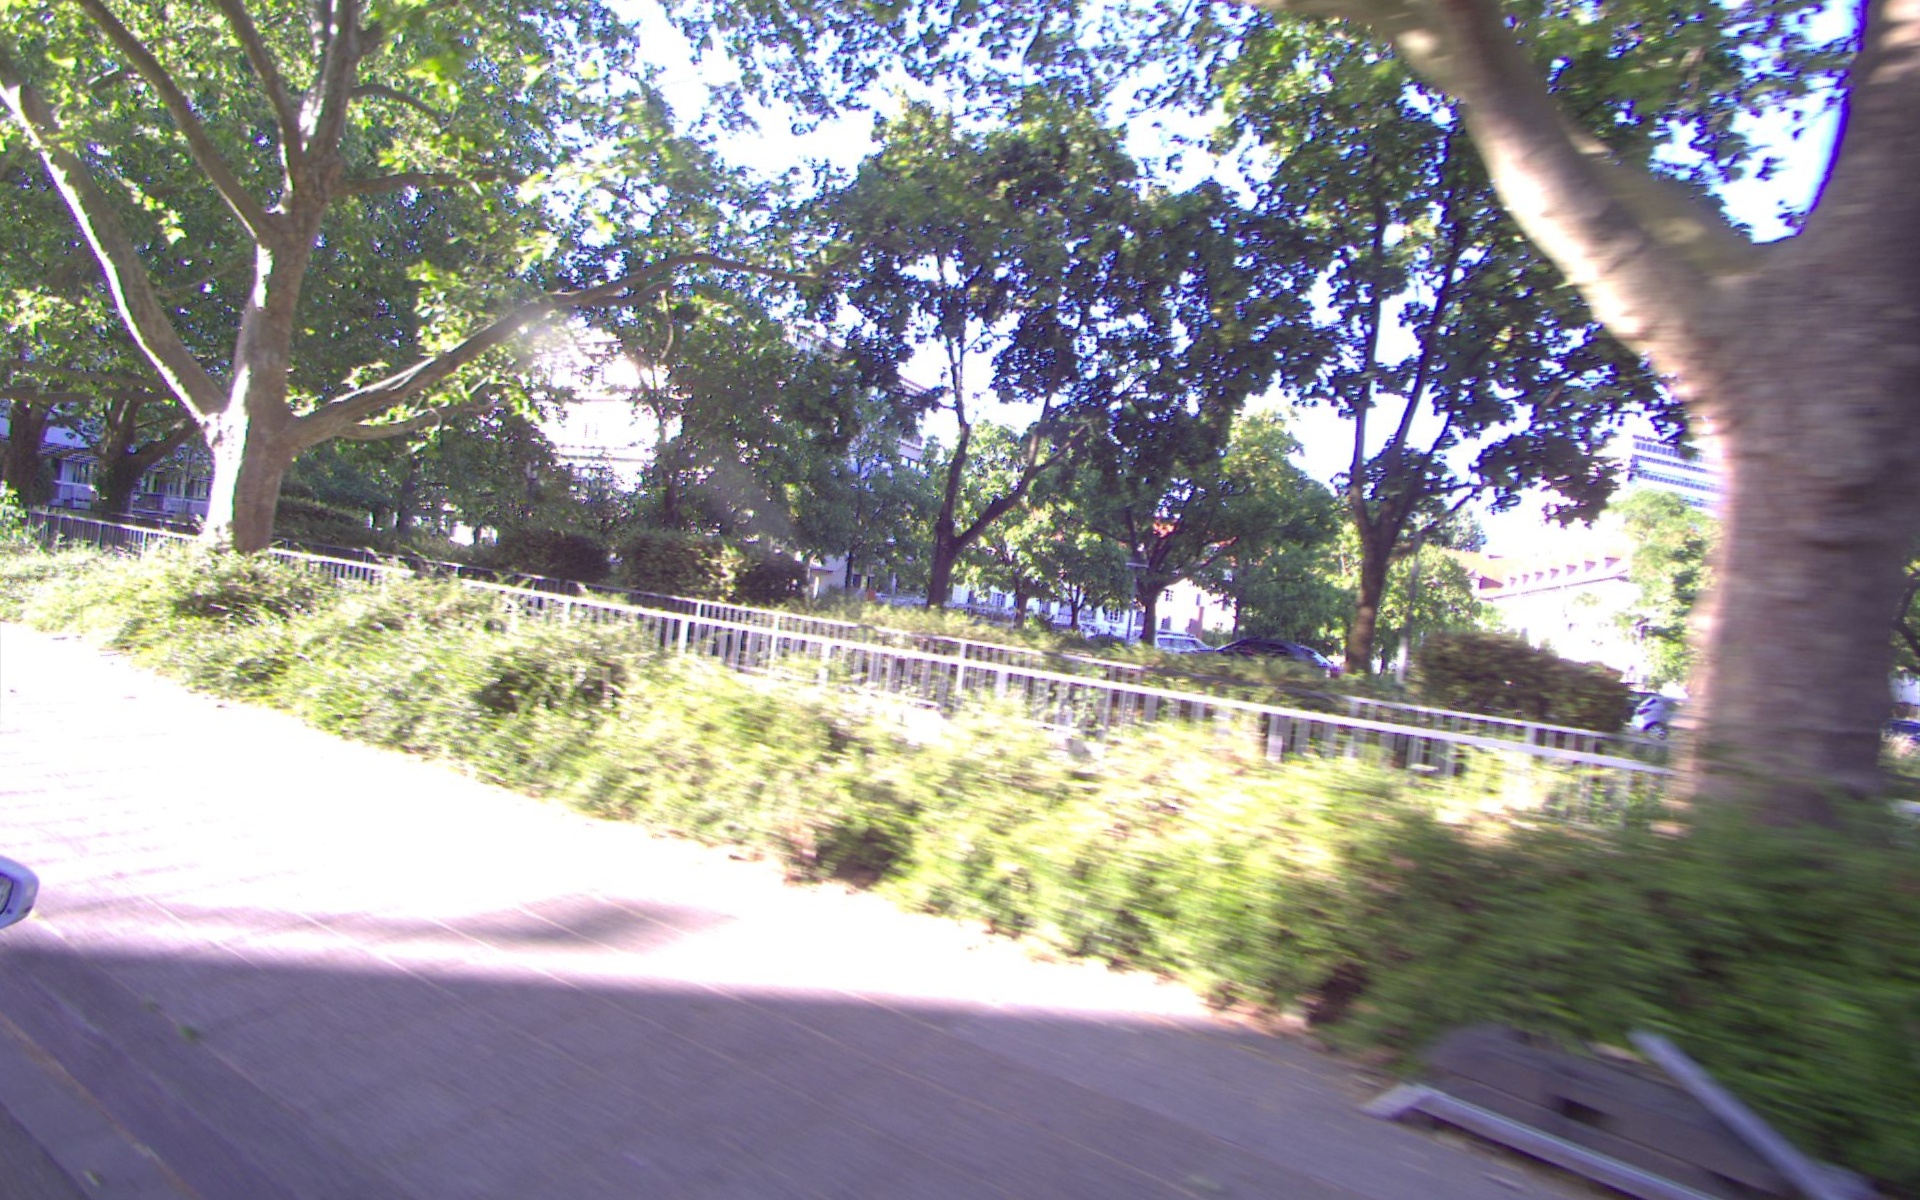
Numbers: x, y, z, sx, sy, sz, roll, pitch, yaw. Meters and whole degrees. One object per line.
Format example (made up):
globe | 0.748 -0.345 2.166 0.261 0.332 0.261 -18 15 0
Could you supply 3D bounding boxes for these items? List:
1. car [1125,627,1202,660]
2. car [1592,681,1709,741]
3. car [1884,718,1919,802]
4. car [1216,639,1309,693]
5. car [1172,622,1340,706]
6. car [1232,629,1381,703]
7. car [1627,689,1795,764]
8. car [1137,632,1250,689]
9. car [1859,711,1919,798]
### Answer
car | 13.838 2.935 68.458 4.580 1.492 2.011 8 -1 32
car | 30.850 4.956 45.119 3.977 1.969 1.922 8 -1 30
car | 24.166 3.988 22.828 4.238 1.834 1.785 8 0 30
car | 14.876 3.217 49.482 3.929 2.039 1.998 7 1 26
car | 7.971 1.695 27.120 3.929 1.646 1.762 7 0 27
car | 10.624 2.001 30.924 3.933 1.645 1.551 8 -1 32
car | 23.760 3.989 32.034 3.933 1.645 1.922 8 -1 32
car | 9.468 2.449 40.831 3.933 1.645 1.922 8 -1 32
car | 21.049 3.402 20.049 4.238 1.621 1.785 8 0 30
